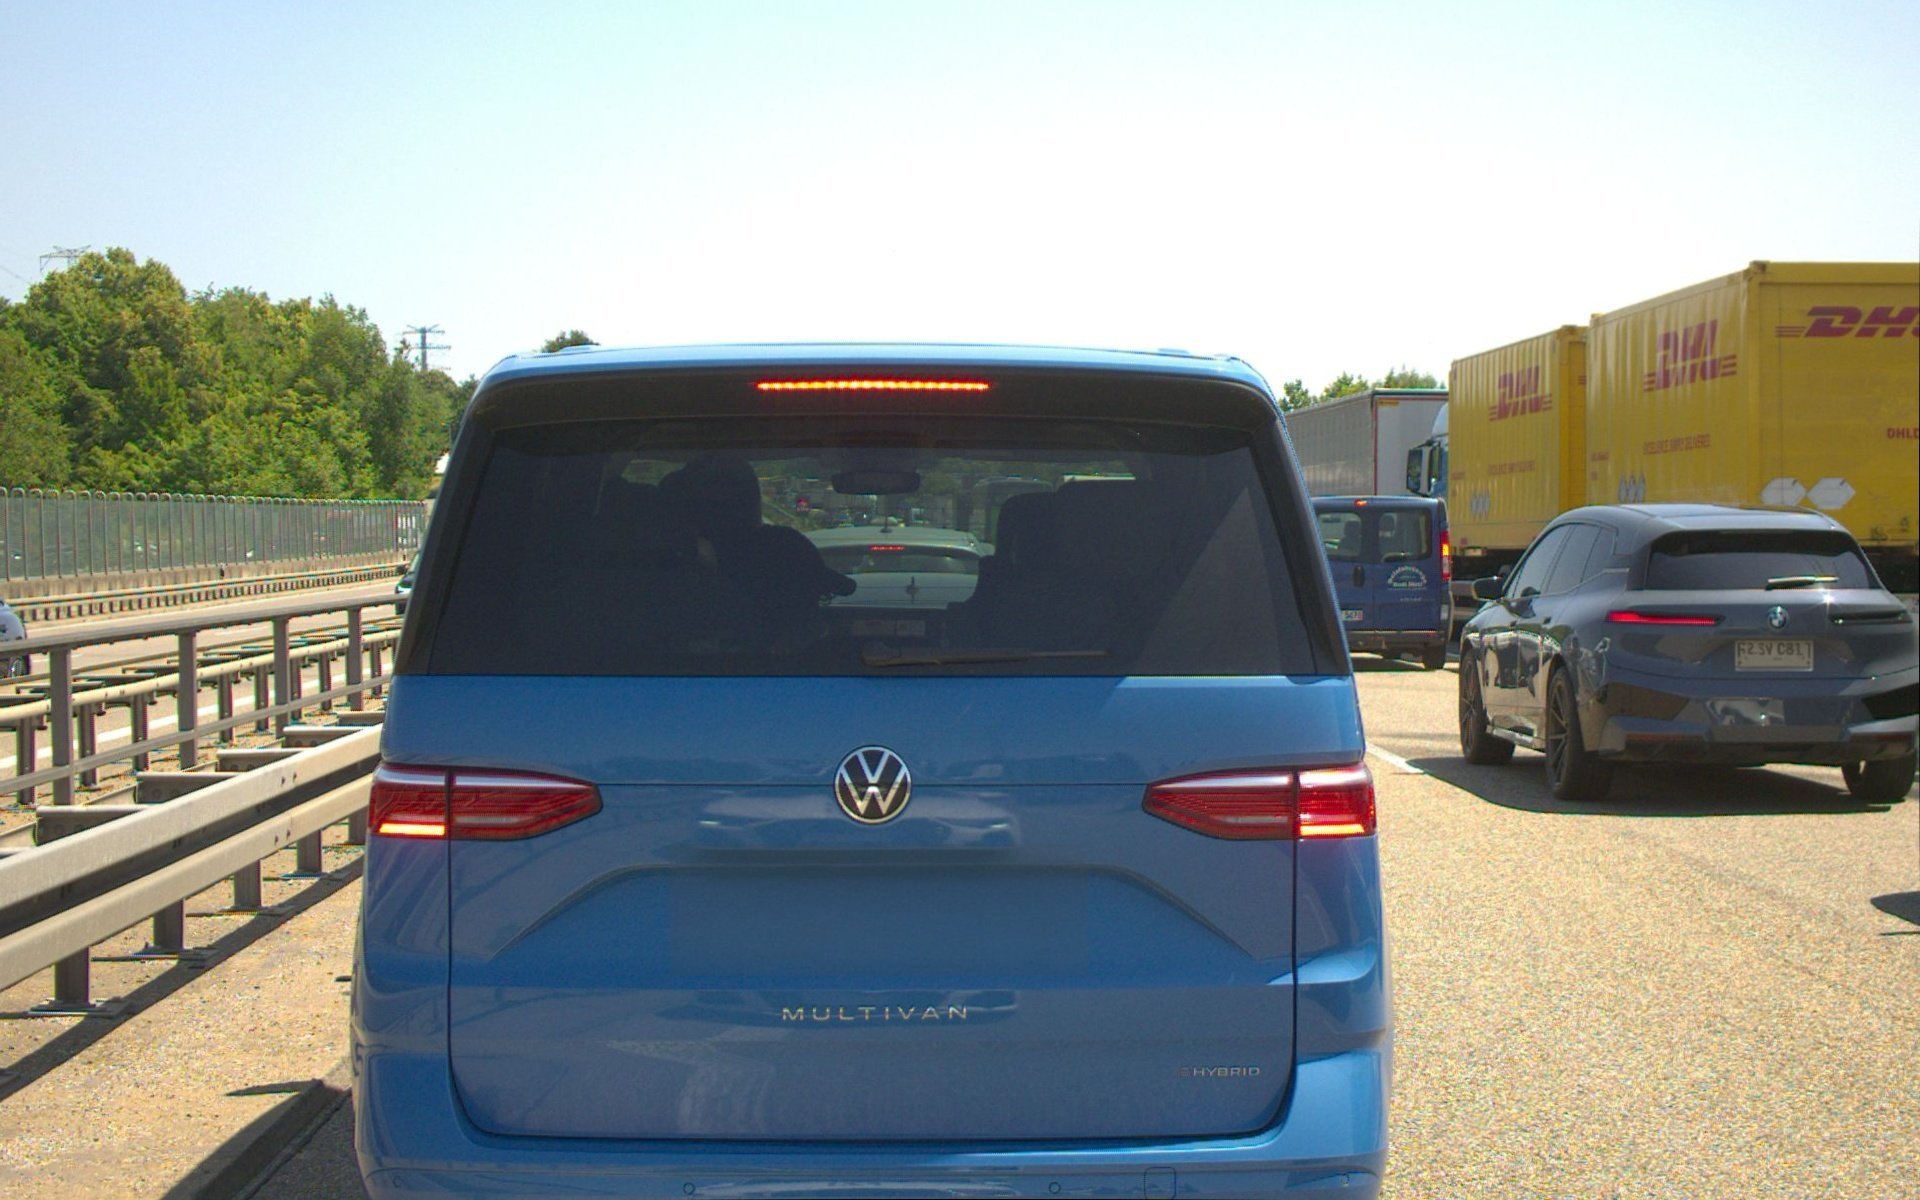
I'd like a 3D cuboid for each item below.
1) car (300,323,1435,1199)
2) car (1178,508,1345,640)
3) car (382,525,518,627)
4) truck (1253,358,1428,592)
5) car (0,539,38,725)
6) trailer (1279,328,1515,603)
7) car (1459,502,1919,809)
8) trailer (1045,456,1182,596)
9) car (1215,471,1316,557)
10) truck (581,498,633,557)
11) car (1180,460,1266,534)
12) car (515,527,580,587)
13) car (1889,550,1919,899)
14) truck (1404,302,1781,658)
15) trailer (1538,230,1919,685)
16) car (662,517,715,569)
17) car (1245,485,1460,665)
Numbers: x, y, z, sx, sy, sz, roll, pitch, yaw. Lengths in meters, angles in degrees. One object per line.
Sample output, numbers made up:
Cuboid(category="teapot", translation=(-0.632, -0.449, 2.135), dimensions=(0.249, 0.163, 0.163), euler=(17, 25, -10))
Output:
Cuboid(category="car", translation=(-0.173, 0.458, 7.602), dimensions=(1.820, 1.851, 4.075), euler=(1, 1, -1))
Cuboid(category="car", translation=(4.264, -0.390, 49.145), dimensions=(1.993, 1.809, 4.000), euler=(0, 1, -1))
Cuboid(category="car", translation=(-9.614, -0.489, 65.062), dimensions=(1.867, 1.694, 4.431), euler=(-4, 2, -1))
Cuboid(category="truck", translation=(7.603, -2.448, 69.533), dimensions=(2.667, 4.469, 6.850), euler=(1, 1, 0))
Cuboid(category="car", translation=(-8.879, 0.351, 27.288), dimensions=(1.867, 1.526, 4.425), euler=(-4, 1, 0))
Cuboid(category="trailer", translation=(7.729, -2.325, 62.322), dimensions=(2.637, 4.501, 11.302), euler=(1, 1, -1))
Cuboid(category="car", translation=(4.304, 0.256, 20.577), dimensions=(1.962, 1.639, 4.293), euler=(0, 1, -1))
Cuboid(category="trailer", translation=(3.445, -1.658, 79.439), dimensions=(2.569, 2.980, 10.663), euler=(1, 1, 0))
Cuboid(category="car", translation=(7.320, -2.042, 82.676), dimensions=(1.993, 2.007, 4.000), euler=(1, 1, -1))
Cuboid(category="truck", translation=(-21.322, -4.374, 207.779), dimensions=(2.497, 3.354, 5.834), euler=(-2, 1, -1))
Cuboid(category="car", translation=(7.375, -2.878, 96.695), dimensions=(1.993, 2.007, 4.461), euler=(-1, 1, -1))
Cuboid(category="car", translation=(-15.875, -1.670, 132.529), dimensions=(1.993, 2.208, 4.268), euler=(-3, 1, -1))
Cuboid(category="car", translation=(4.914, 0.549, 12.620), dimensions=(1.788, 1.450, 4.293), euler=(0, 1, -1))
Cuboid(category="truck", translation=(8.286, -1.530, 46.678), dimensions=(2.836, 4.228, 11.011), euler=(1, 1, -1))
Cuboid(category="trailer", translation=(8.444, -1.386, 36.676), dimensions=(2.864, 4.224, 9.012), euler=(1, 1, -1))
Cuboid(category="car", translation=(-11.751, -2.491, 148.941), dimensions=(1.863, 2.123, 4.268), euler=(-3, 1, 0))
Cuboid(category="car", translation=(4.507, -0.316, 40.058), dimensions=(1.962, 1.986, 4.293), euler=(0, 1, -1))
